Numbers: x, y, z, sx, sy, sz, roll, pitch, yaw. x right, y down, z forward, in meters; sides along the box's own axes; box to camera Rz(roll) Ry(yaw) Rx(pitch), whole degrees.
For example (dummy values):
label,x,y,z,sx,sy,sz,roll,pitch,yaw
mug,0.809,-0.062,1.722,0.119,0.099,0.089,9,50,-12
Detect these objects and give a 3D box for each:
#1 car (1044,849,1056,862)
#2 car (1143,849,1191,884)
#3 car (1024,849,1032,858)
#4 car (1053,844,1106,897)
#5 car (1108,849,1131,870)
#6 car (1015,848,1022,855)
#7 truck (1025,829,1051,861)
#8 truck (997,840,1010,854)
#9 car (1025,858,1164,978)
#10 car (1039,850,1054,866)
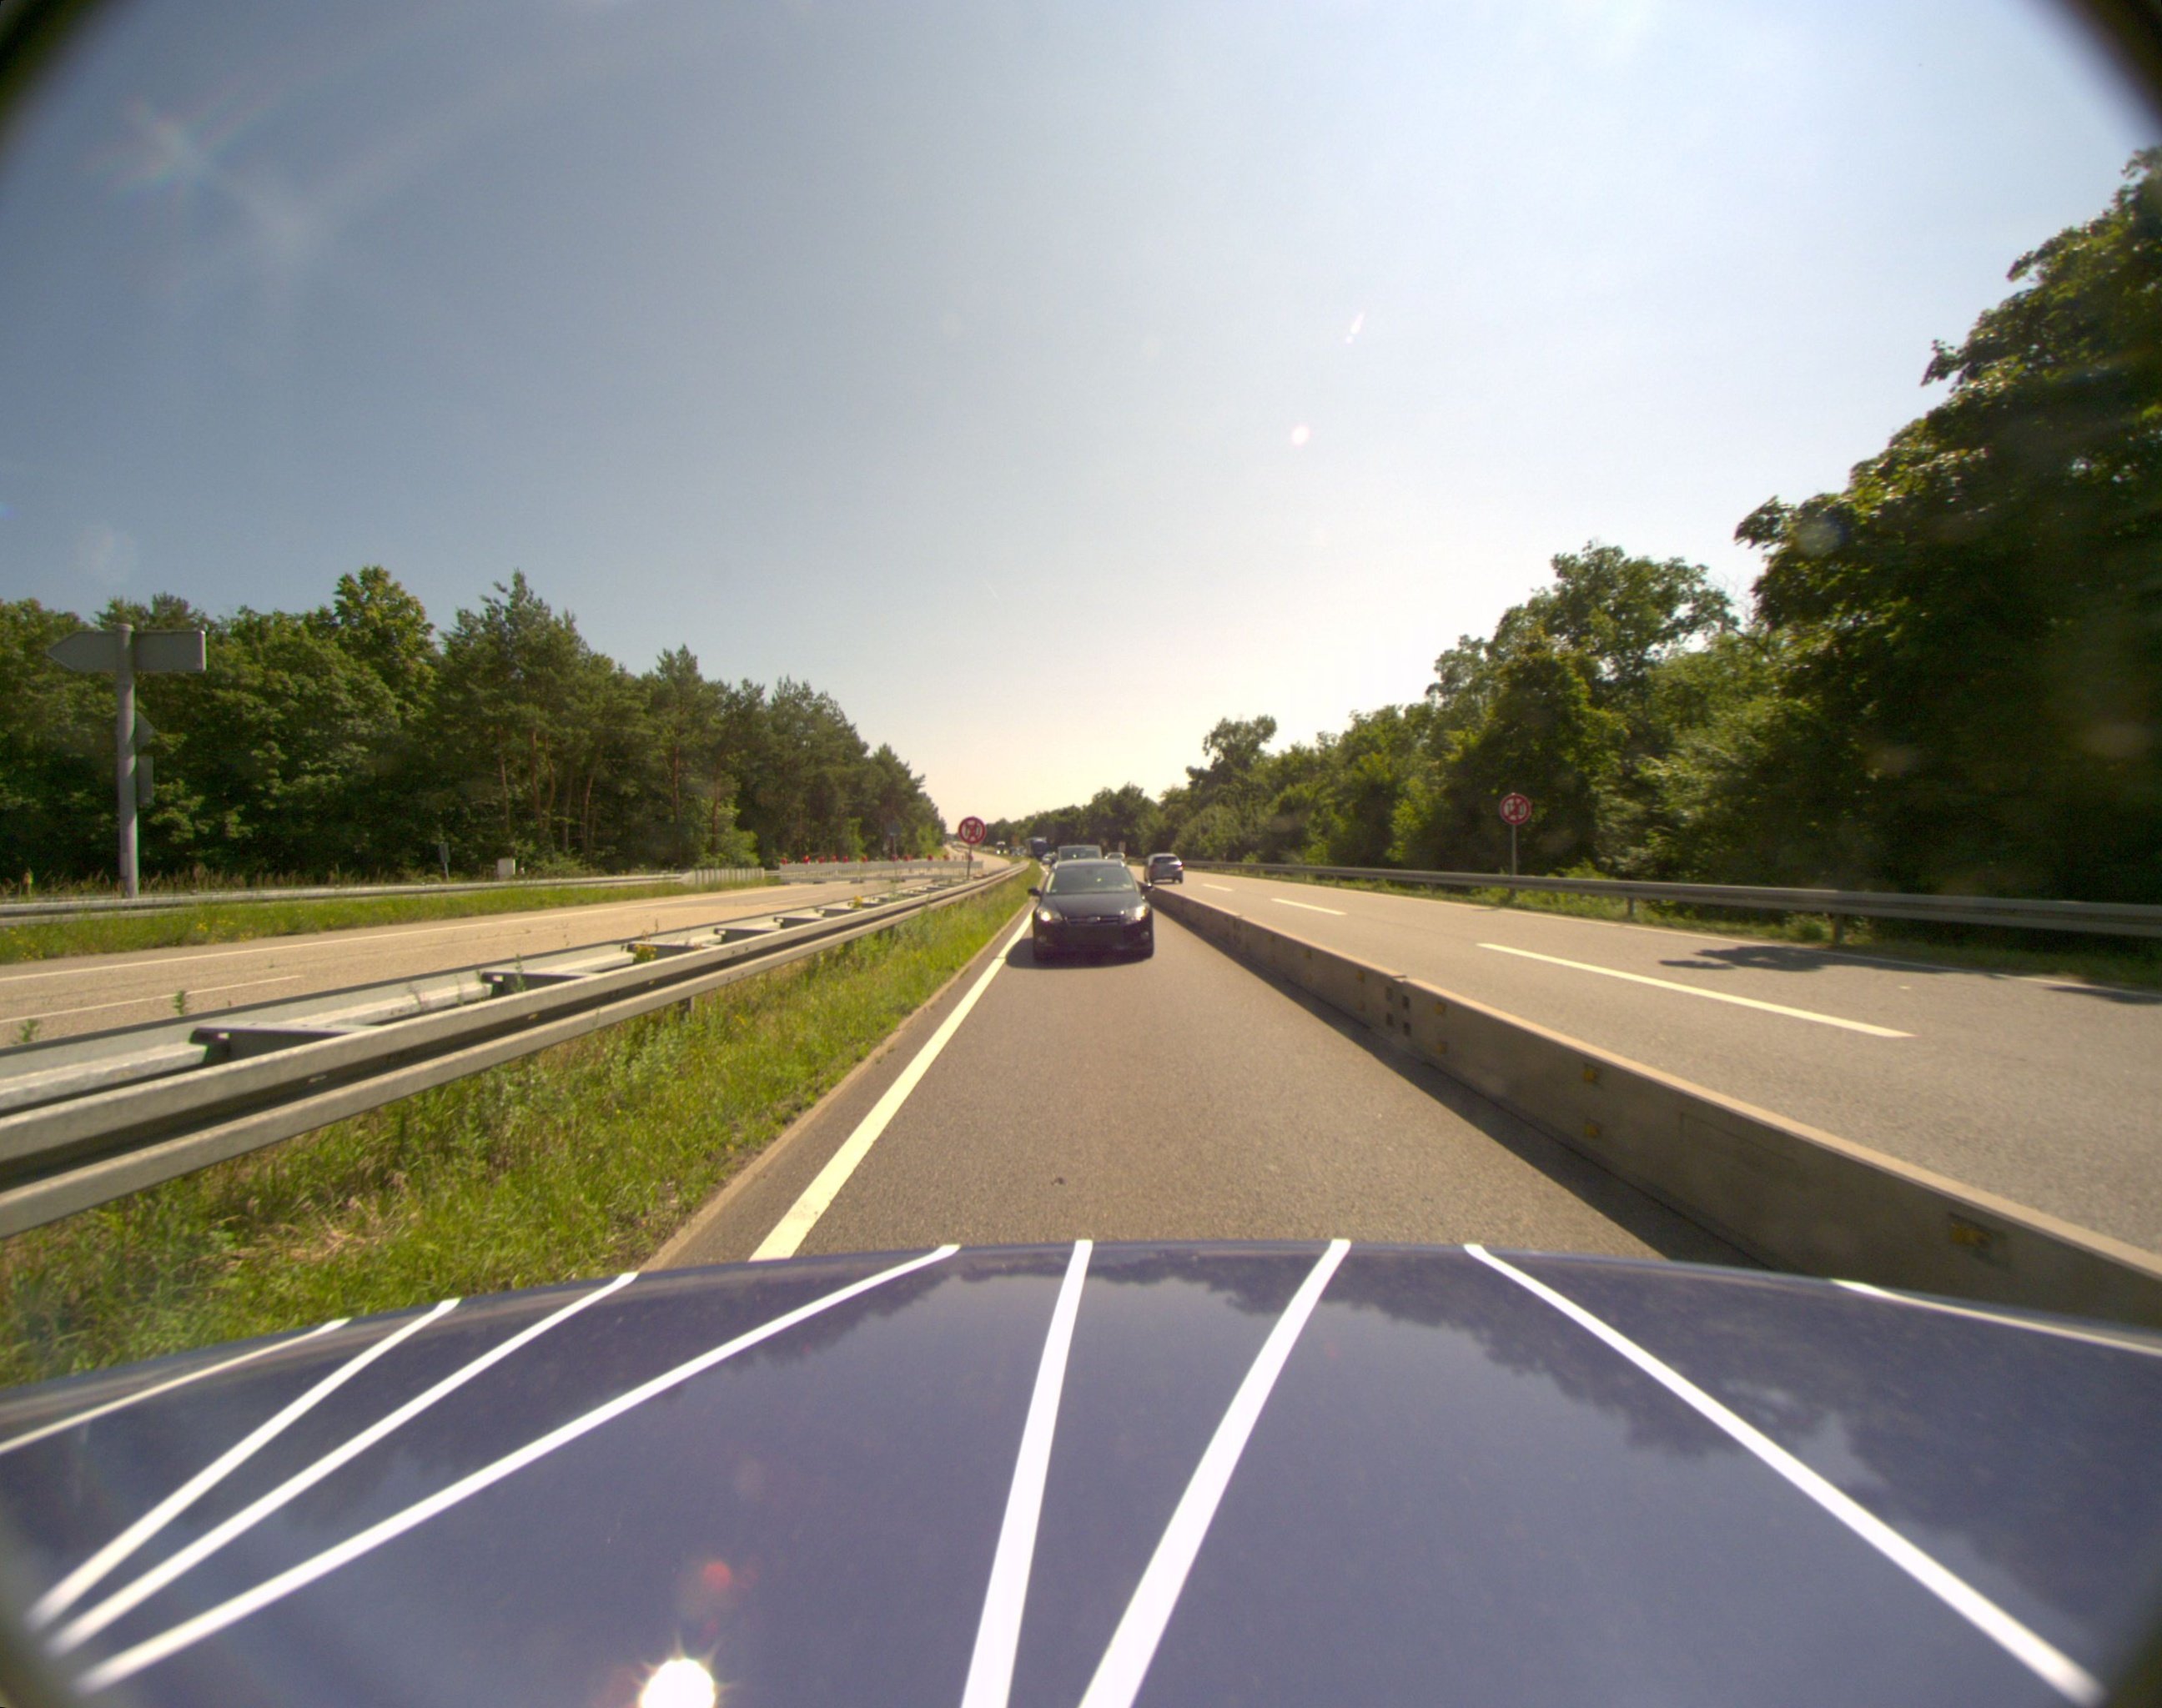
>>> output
label,x,y,z,sx,sy,sz,roll,pitch,yaw
car,-4.230,0.210,103.364,1.528,1.647,3.752,0,0,-5
car,4.322,0.593,38.855,1.953,1.570,4.435,-2,1,1
car,-11.124,-0.031,158.719,1.527,1.648,3.977,-4,2,-5
car,-0.091,0.613,31.671,1.960,1.902,4.933,-2,2,-1
car,3.363,0.459,67.065,1.833,1.621,3.782,-1,3,0
car,-15.866,-0.603,192.476,1.528,1.647,3.977,-1,0,-8
truck,-7.566,-1.564,132.183,3.831,5.266,11.238,-1,0,-7
truck,-24.497,-2.327,241.832,3.831,4.265,11.240,-1,0,-5
car,0.109,0.885,12.859,1.847,1.537,4.934,-2,0,-2
car,-3.861,0.414,85.131,1.527,1.647,3.978,-1,0,-5
